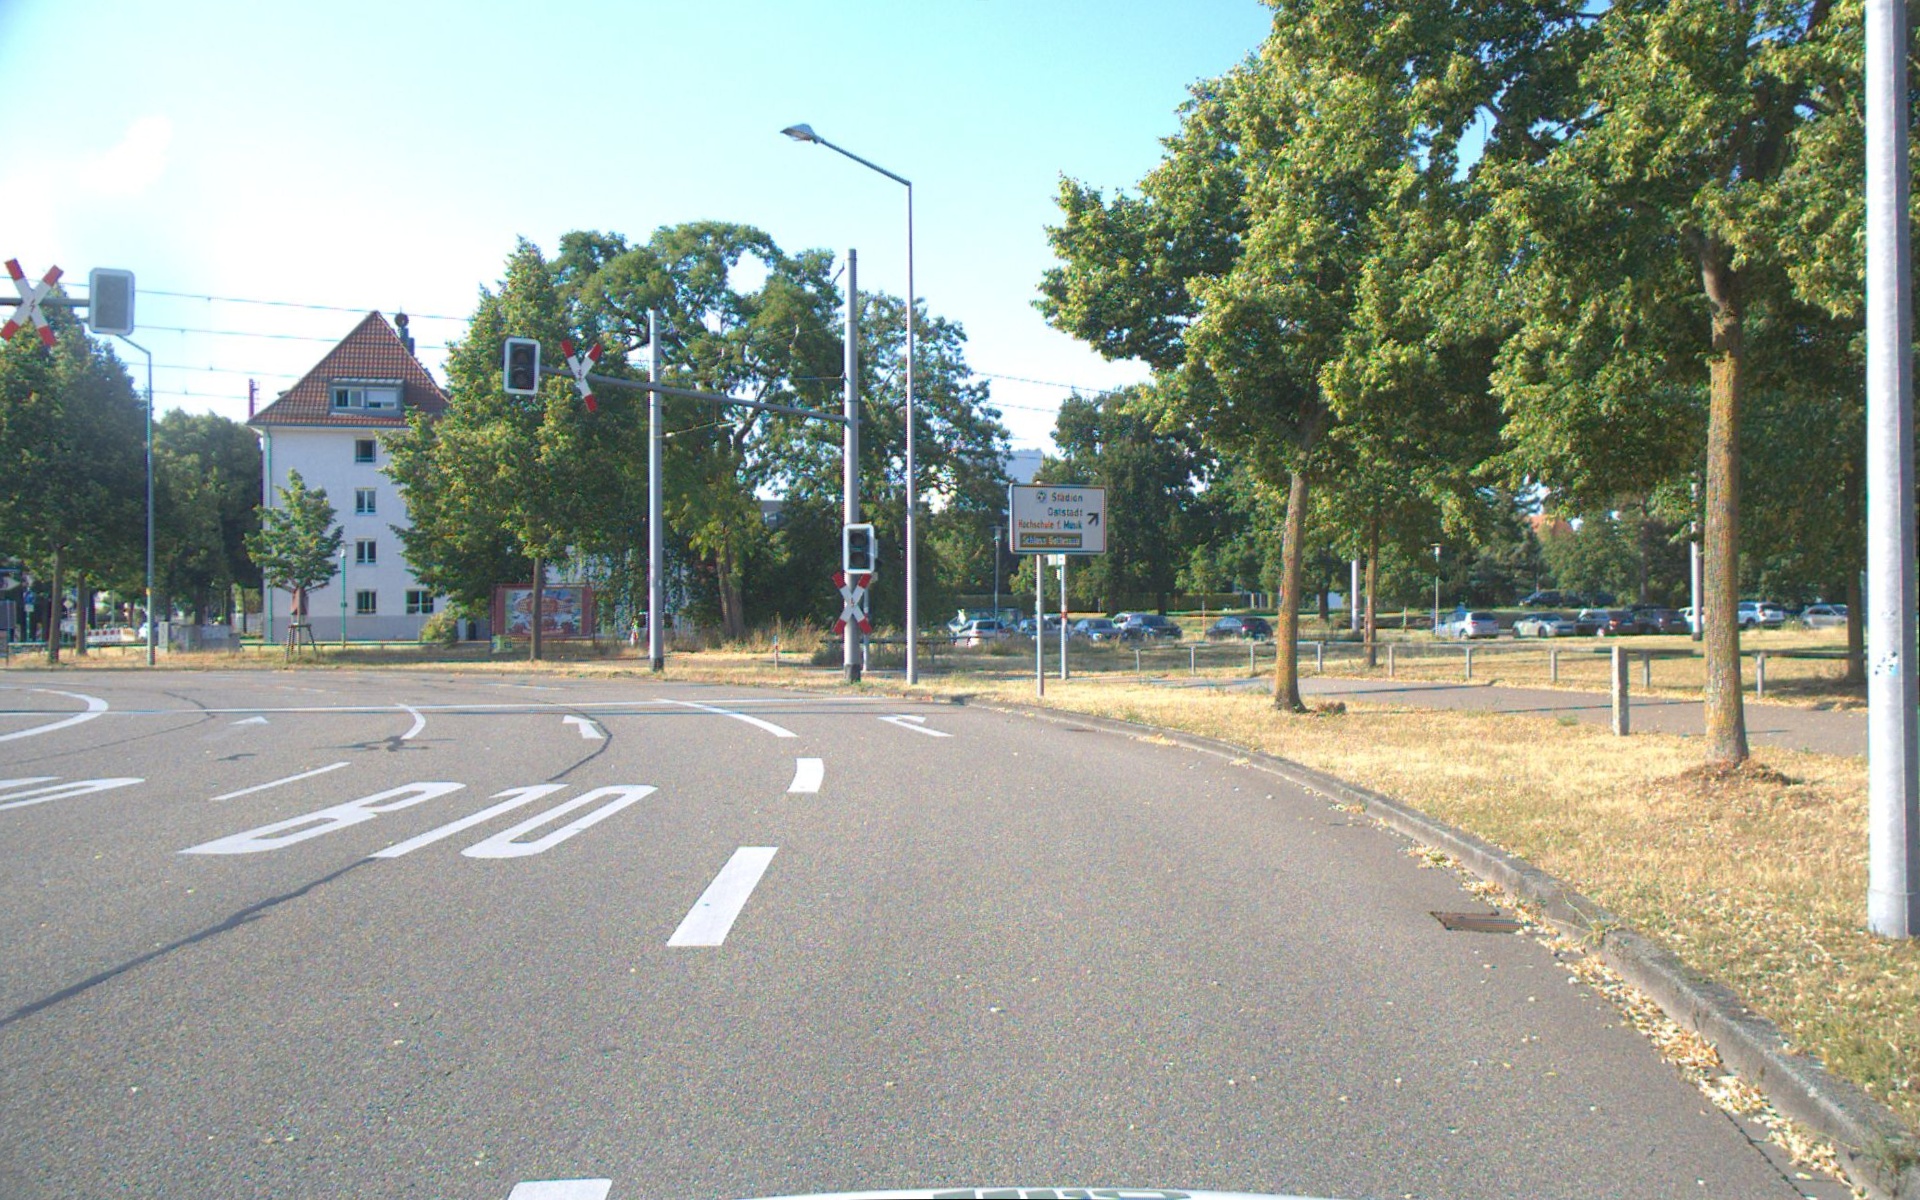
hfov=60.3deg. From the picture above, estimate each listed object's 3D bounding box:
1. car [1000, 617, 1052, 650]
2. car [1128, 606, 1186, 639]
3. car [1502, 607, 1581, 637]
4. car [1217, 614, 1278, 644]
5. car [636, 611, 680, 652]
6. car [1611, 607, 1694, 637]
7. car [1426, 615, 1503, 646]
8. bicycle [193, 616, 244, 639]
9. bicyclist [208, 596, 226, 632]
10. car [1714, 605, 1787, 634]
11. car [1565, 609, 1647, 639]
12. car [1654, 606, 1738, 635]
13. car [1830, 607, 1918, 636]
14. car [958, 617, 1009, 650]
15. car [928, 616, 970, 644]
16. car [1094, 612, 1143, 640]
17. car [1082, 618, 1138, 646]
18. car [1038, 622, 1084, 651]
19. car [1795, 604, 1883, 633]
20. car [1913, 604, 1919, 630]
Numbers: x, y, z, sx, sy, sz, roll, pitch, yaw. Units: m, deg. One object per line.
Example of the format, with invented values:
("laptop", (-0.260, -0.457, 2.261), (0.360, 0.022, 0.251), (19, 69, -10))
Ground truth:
("car", (2.953, 1.505, 74.677), (1.572, 1.426, 3.959), (-1, -1, -10))
("car", (8.964, 1.030, 75.665), (1.572, 1.426, 3.959), (-1, -1, -10))
("car", (28.692, 1.097, 81.715), (1.791, 1.427, 3.985), (-1, -1, -14))
("car", (13.277, 1.357, 76.584), (1.572, 1.333, 3.959), (-1, -1, -10))
("car", (-12.746, 1.324, 69.926), (1.739, 1.646, 3.959), (-1, -1, -10))
("car", (34.416, 1.083, 82.279), (1.791, 1.427, 3.985), (-1, -1, -14))
("car", (24.414, 1.488, 80.192), (1.791, 1.427, 3.985), (-1, -1, -14))
("bicycle", (-31.601, 1.181, 70.506), (1.978, 0.934, 0.423), (-1, 0, -44))
("bicyclist", (-31.655, 0.602, 70.470), (0.619, 1.537, 0.412), (0, -1, -44))
("car", (46.641, 1.166, 97.680), (1.791, 1.701, 3.985), (-1, -1, -14))
("car", (31.939, 1.180, 81.866), (1.791, 1.427, 3.985), (-1, -1, -14))
("car", (37.001, 1.046, 83.203), (1.791, 1.427, 3.985), (-1, -1, -14))
("car", (47.452, 1.131, 85.947), (1.791, 1.427, 3.985), (-1, -1, -14))
("car", (1.033, 1.494, 74.107), (1.572, 1.426, 3.959), (-1, -1, -10))
("car", (-0.613, 1.561, 85.986), (1.572, 1.426, 3.959), (-1, -1, -10))
("car", (8.378, 1.390, 87.596), (1.572, 1.426, 3.959), (-1, -1, -10))
("car", (6.816, 1.448, 75.437), (1.572, 1.242, 3.959), (-1, -1, -10))
("car", (5.288, 1.909, 86.992), (1.572, 1.426, 3.959), (-1, -1, -10))
("car", (45.131, 0.977, 84.992), (1.791, 1.427, 3.985), (-1, -1, -14))
("car", (52.797, 0.874, 87.563), (1.791, 1.427, 3.985), (-1, -1, -14))
